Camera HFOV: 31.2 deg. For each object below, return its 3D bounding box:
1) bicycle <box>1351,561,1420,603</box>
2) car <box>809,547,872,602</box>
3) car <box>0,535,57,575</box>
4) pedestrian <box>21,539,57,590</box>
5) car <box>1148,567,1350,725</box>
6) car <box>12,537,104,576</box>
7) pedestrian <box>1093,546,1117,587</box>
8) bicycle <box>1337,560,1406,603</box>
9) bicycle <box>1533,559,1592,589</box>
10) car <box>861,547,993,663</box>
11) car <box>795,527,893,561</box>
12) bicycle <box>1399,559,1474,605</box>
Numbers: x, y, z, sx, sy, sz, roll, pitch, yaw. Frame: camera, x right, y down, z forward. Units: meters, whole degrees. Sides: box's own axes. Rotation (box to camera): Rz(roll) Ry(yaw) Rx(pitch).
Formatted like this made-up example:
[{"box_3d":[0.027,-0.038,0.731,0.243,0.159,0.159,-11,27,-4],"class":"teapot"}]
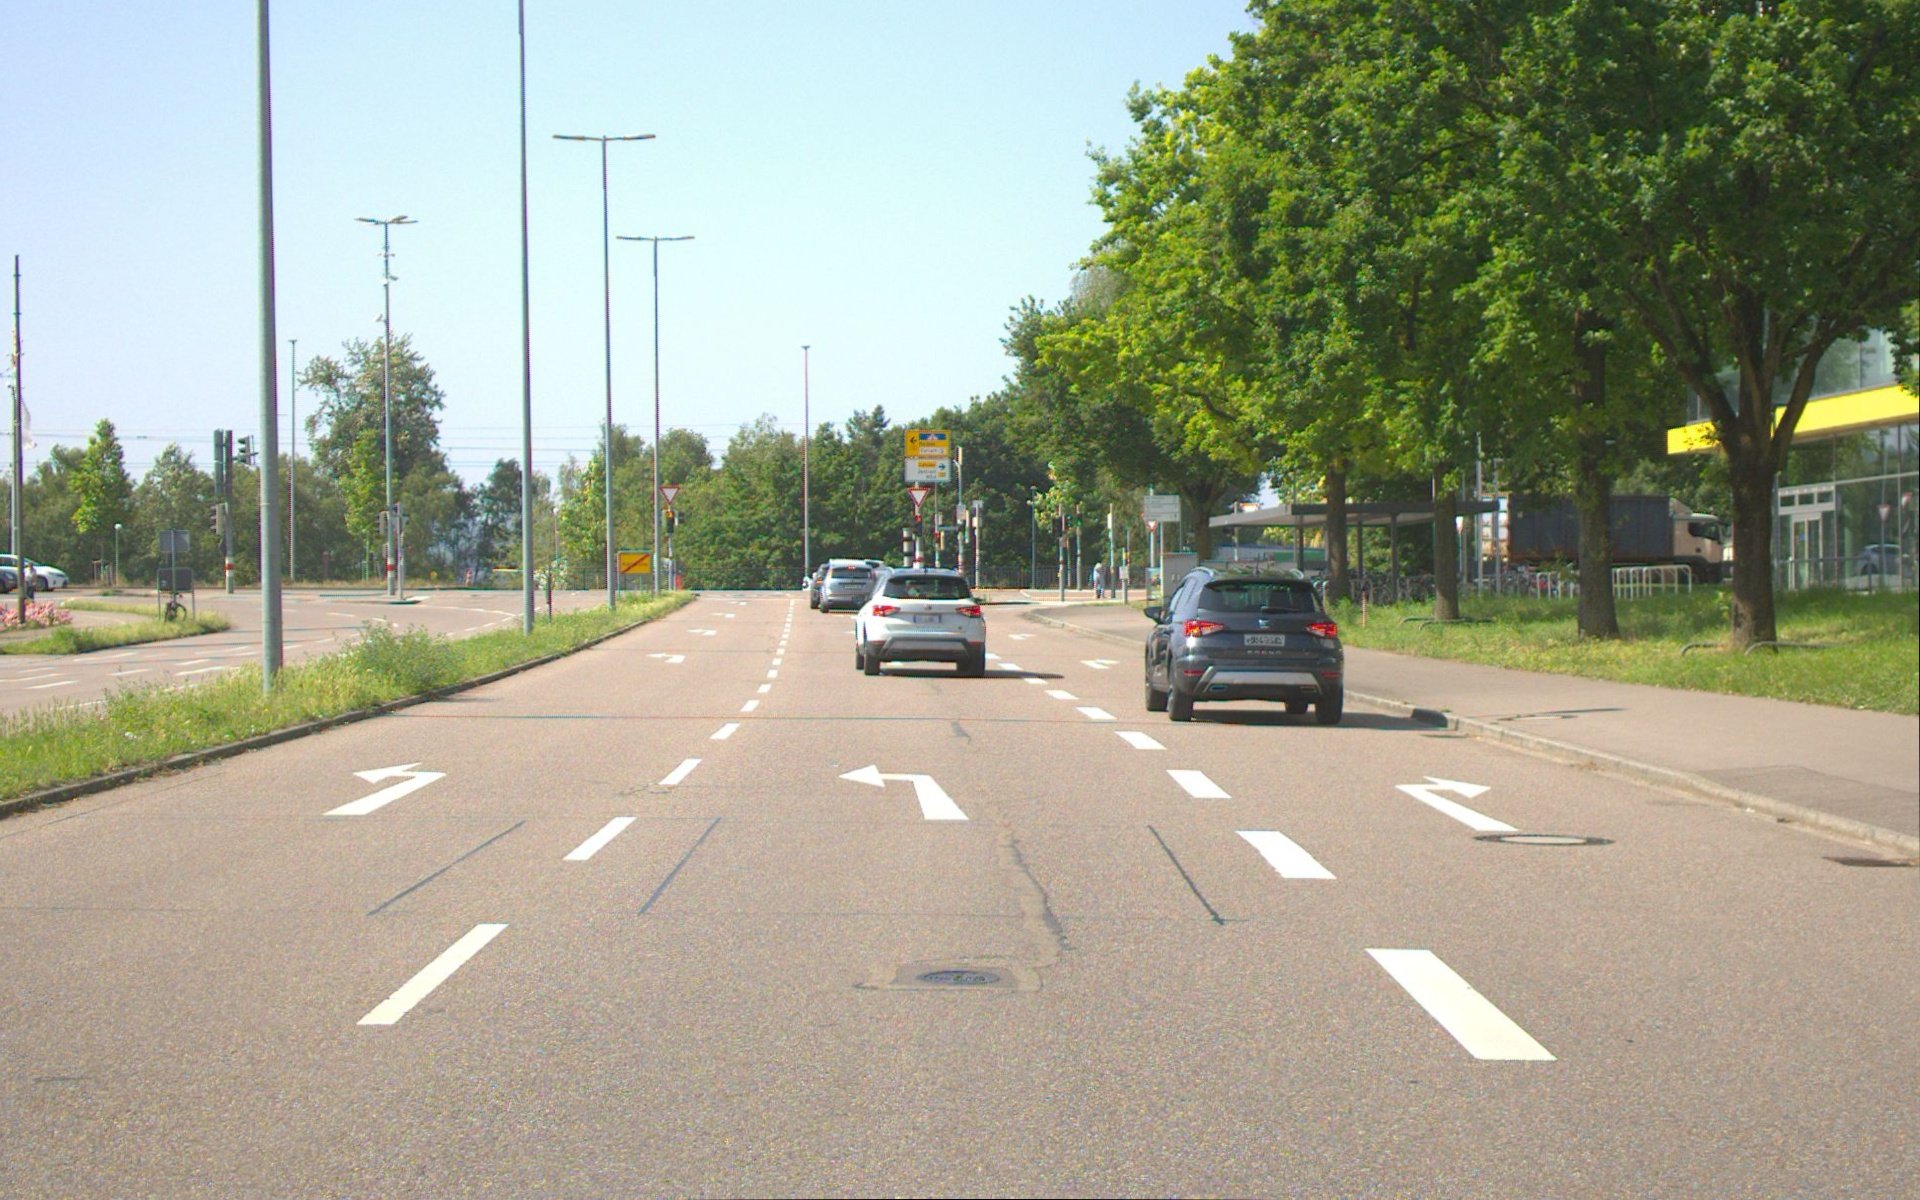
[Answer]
[{"box_3d":[11.476,-0.485,92.740,1.758,1.092,0.452,-1,1,-2],"class":"bicycle"},{"box_3d":[-3.599,-0.789,102.968,1.706,1.568,4.175,-1,1,-4],"class":"car"},{"box_3d":[-36.634,-1.740,132.398,3.385,1.495,1.410,0,-1,-4],"class":"car"},{"box_3d":[-31.514,-1.220,117.665,0.840,1.701,0.905,-1,1,10],"class":"pedestrian"},{"box_3d":[2.908,0.434,35.181,1.669,1.518,3.377,1,1,-2],"class":"car"},{"box_3d":[-35.881,-1.723,136.778,3.342,1.495,1.410,0,-1,-6],"class":"car"},{"box_3d":[5.451,-1.254,129.345,0.773,1.505,1.007,0,2,9],"class":"pedestrian"},{"box_3d":[10.845,-0.481,90.613,1.758,1.092,0.452,-1,1,-2],"class":"bicycle"},{"box_3d":[16.811,-0.721,95.978,1.561,0.840,0.434,0,1,0],"class":"bicycle"},{"box_3d":[-0.516,0.039,49.726,1.630,1.493,3.871,0,3,-5],"class":"car"},{"box_3d":[-5.253,-2.525,155.650,4.072,1.541,1.800,0,0,-21],"class":"car"},{"box_3d":[11.709,-0.447,84.410,1.758,1.092,0.452,-1,1,-2],"class":"bicycle"}]
